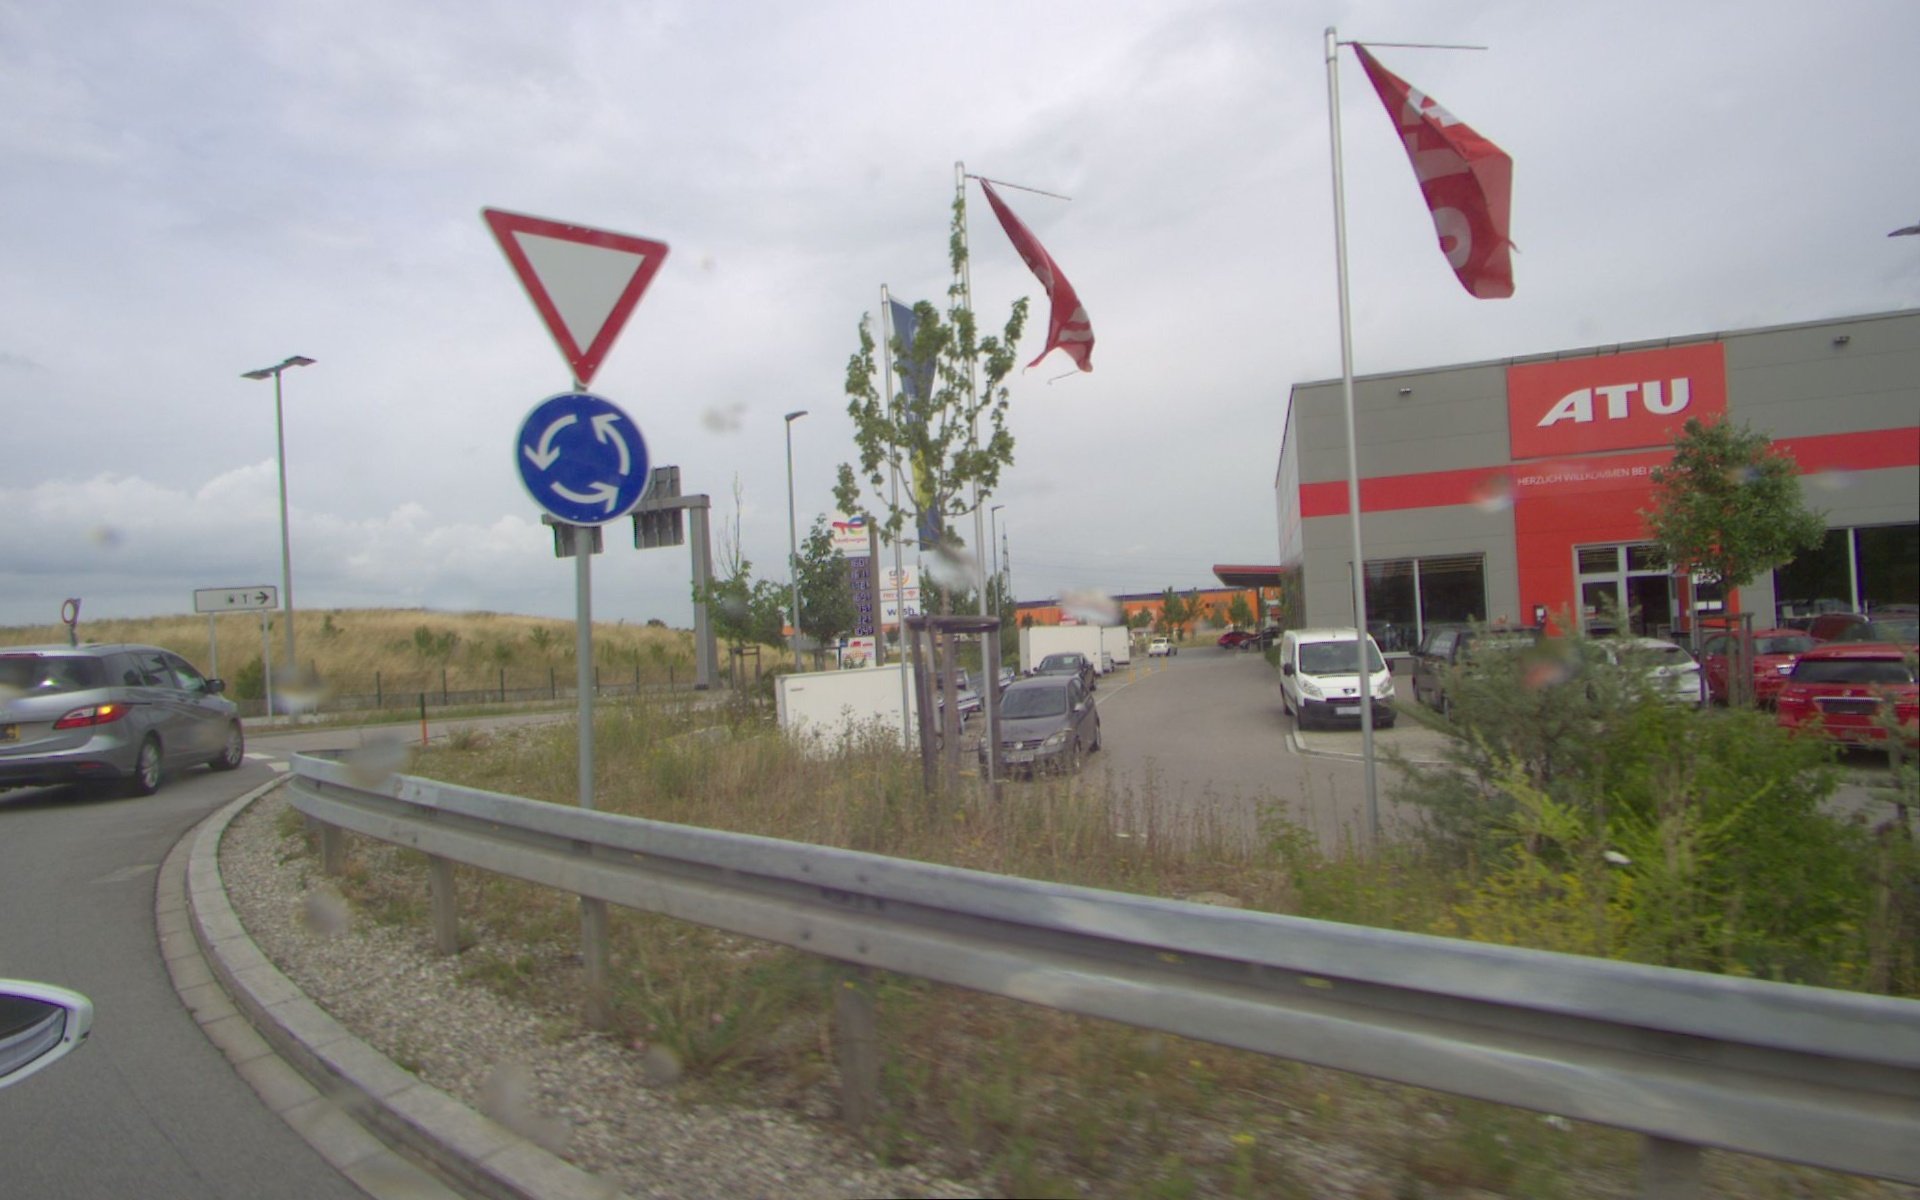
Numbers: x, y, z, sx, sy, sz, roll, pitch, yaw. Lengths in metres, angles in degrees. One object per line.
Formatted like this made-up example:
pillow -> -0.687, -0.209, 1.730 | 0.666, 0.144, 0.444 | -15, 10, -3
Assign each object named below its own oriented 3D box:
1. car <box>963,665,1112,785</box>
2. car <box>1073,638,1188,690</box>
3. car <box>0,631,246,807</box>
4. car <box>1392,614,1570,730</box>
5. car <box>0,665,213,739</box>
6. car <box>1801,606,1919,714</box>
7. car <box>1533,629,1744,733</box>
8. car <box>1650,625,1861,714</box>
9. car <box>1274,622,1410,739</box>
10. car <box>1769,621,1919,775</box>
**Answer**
car -> 1.584, 2.179, 18.465 | 1.930, 1.696, 4.832 | -3, -2, 13
car -> 5.910, 2.249, 35.037 | 1.891, 1.592, 3.722 | 0, -6, -32
car -> -9.649, 1.206, 11.114 | 1.885, 1.594, 3.990 | -2, -2, -22
car -> 10.487, 1.344, 20.618 | 1.963, 1.998, 5.074 | -3, -1, 13
car -> -22.584, 2.599, 26.342 | 1.758, 1.649, 4.408 | -2, -2, 30
car -> 17.528, 1.057, 18.228 | 1.561, 1.858, 4.201 | -3, -4, 13
car -> 13.345, 1.514, 20.081 | 1.880, 1.662, 4.671 | -3, -1, 13
car -> 15.578, 1.368, 19.913 | 1.561, 1.517, 4.201 | -3, -4, 13
car -> 7.947, 1.580, 21.312 | 1.963, 2.073, 5.074 | -3, -1, 13
car -> 13.168, 1.267, 14.090 | 4.025, 1.599, 1.760 | -6, -1, -37
